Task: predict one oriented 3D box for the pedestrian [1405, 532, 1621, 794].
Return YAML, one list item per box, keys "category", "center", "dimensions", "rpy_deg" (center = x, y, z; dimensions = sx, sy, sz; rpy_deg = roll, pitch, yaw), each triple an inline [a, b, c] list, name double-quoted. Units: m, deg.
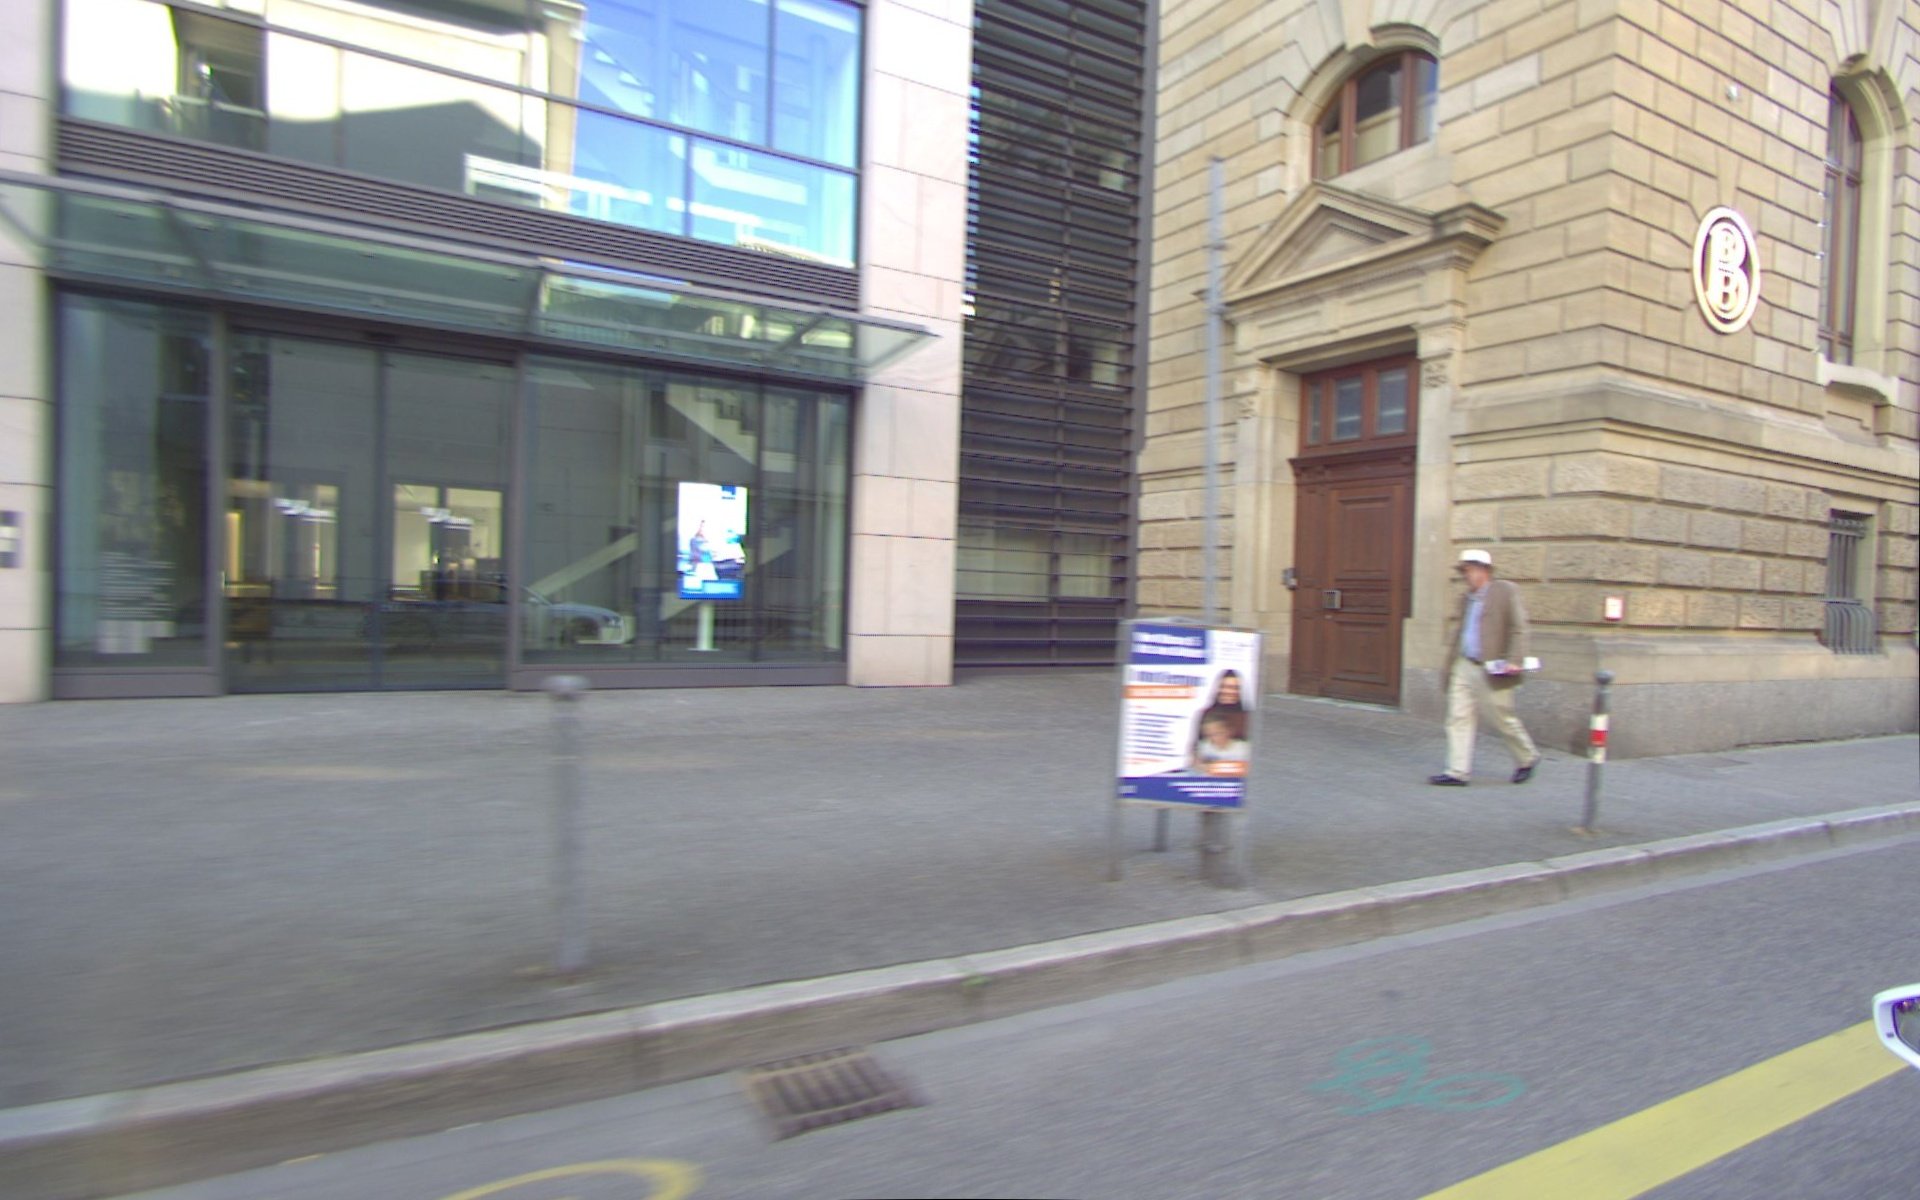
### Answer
- category: "pedestrian"
  center: [4.152, 0.439, 7.583]
  dimensions: [1.059, 1.824, 0.838]
  rpy_deg: [2, 3, -25]
